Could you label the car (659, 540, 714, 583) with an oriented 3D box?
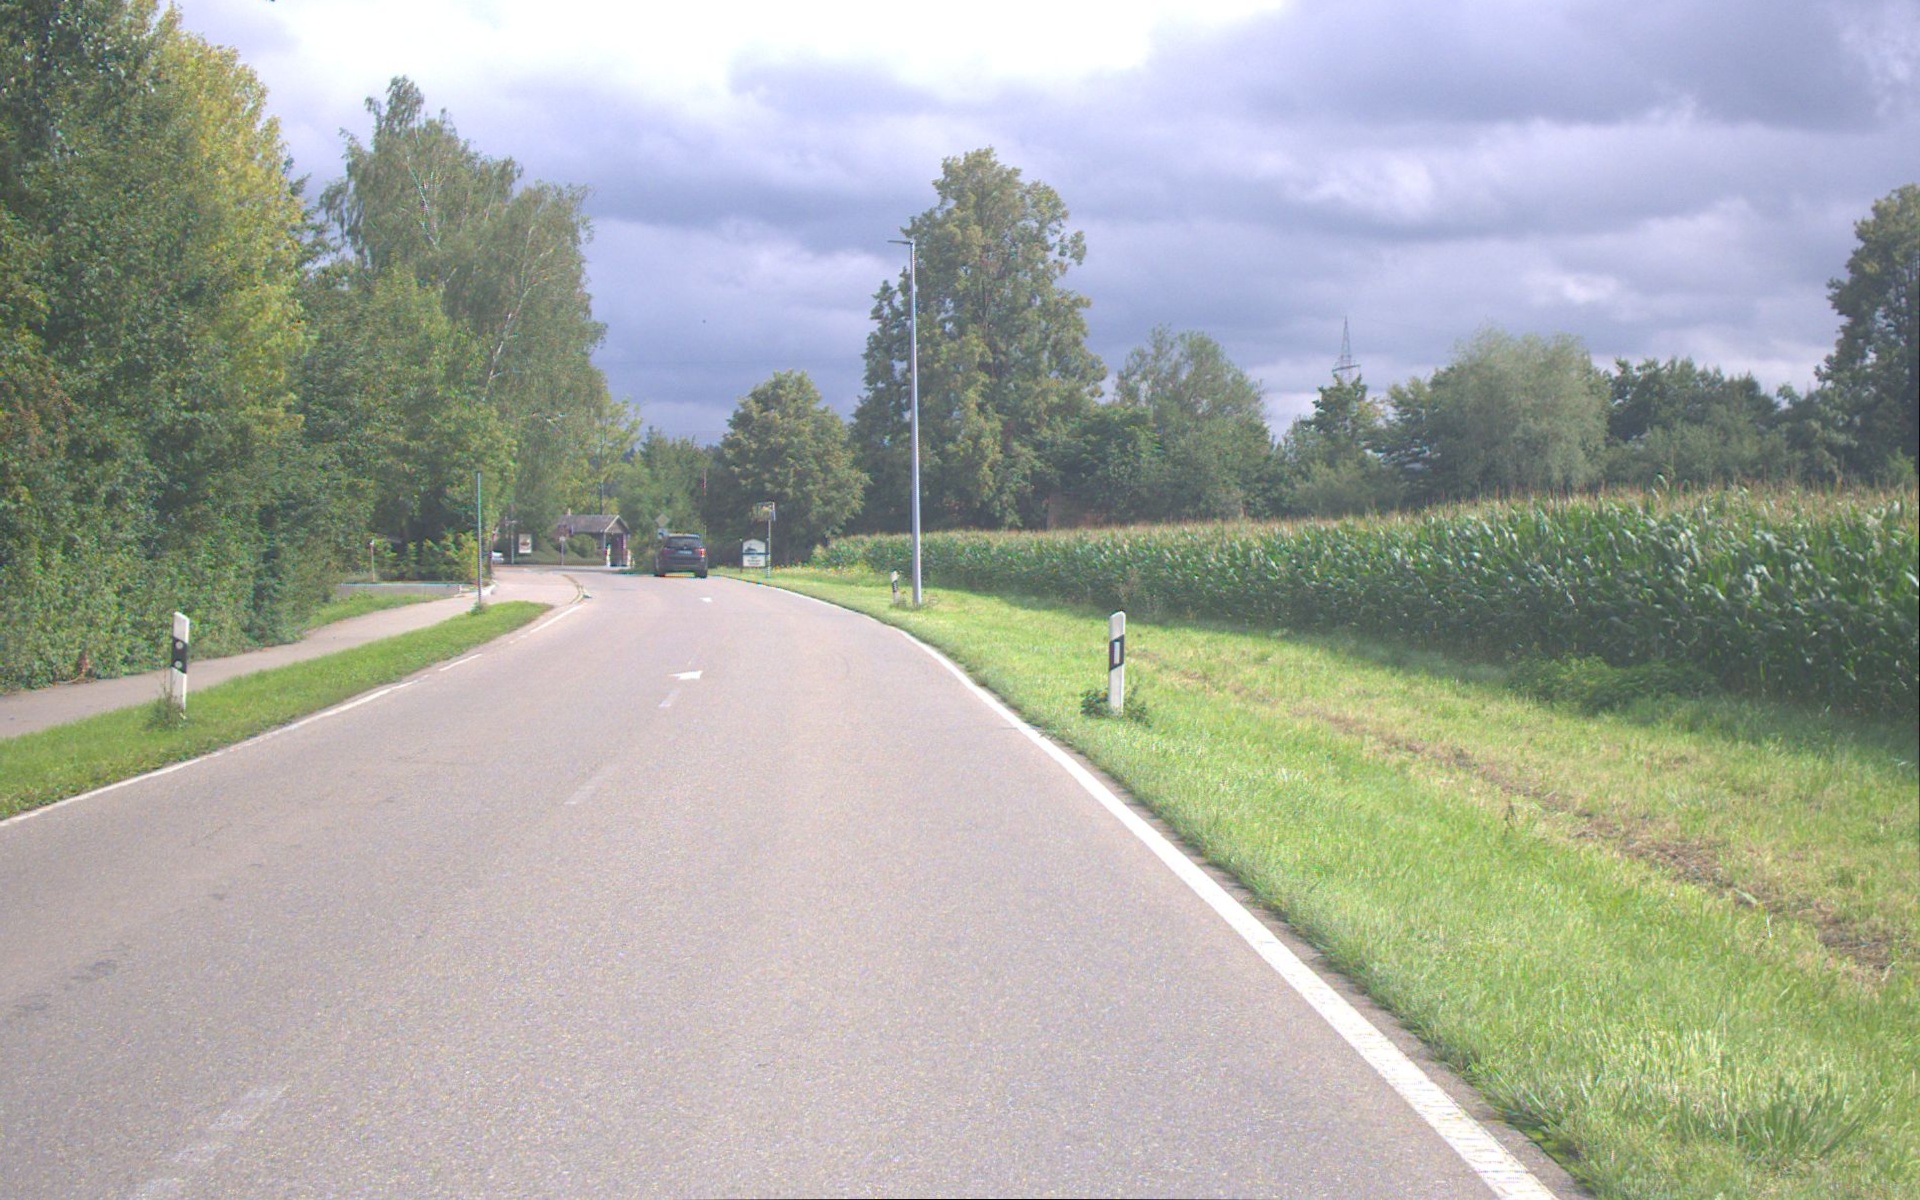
[{"bbox_3d":[-10.549,-1.468,132.404,1.993,1.579,4.001,2,0,-6],"label":"car"}]
